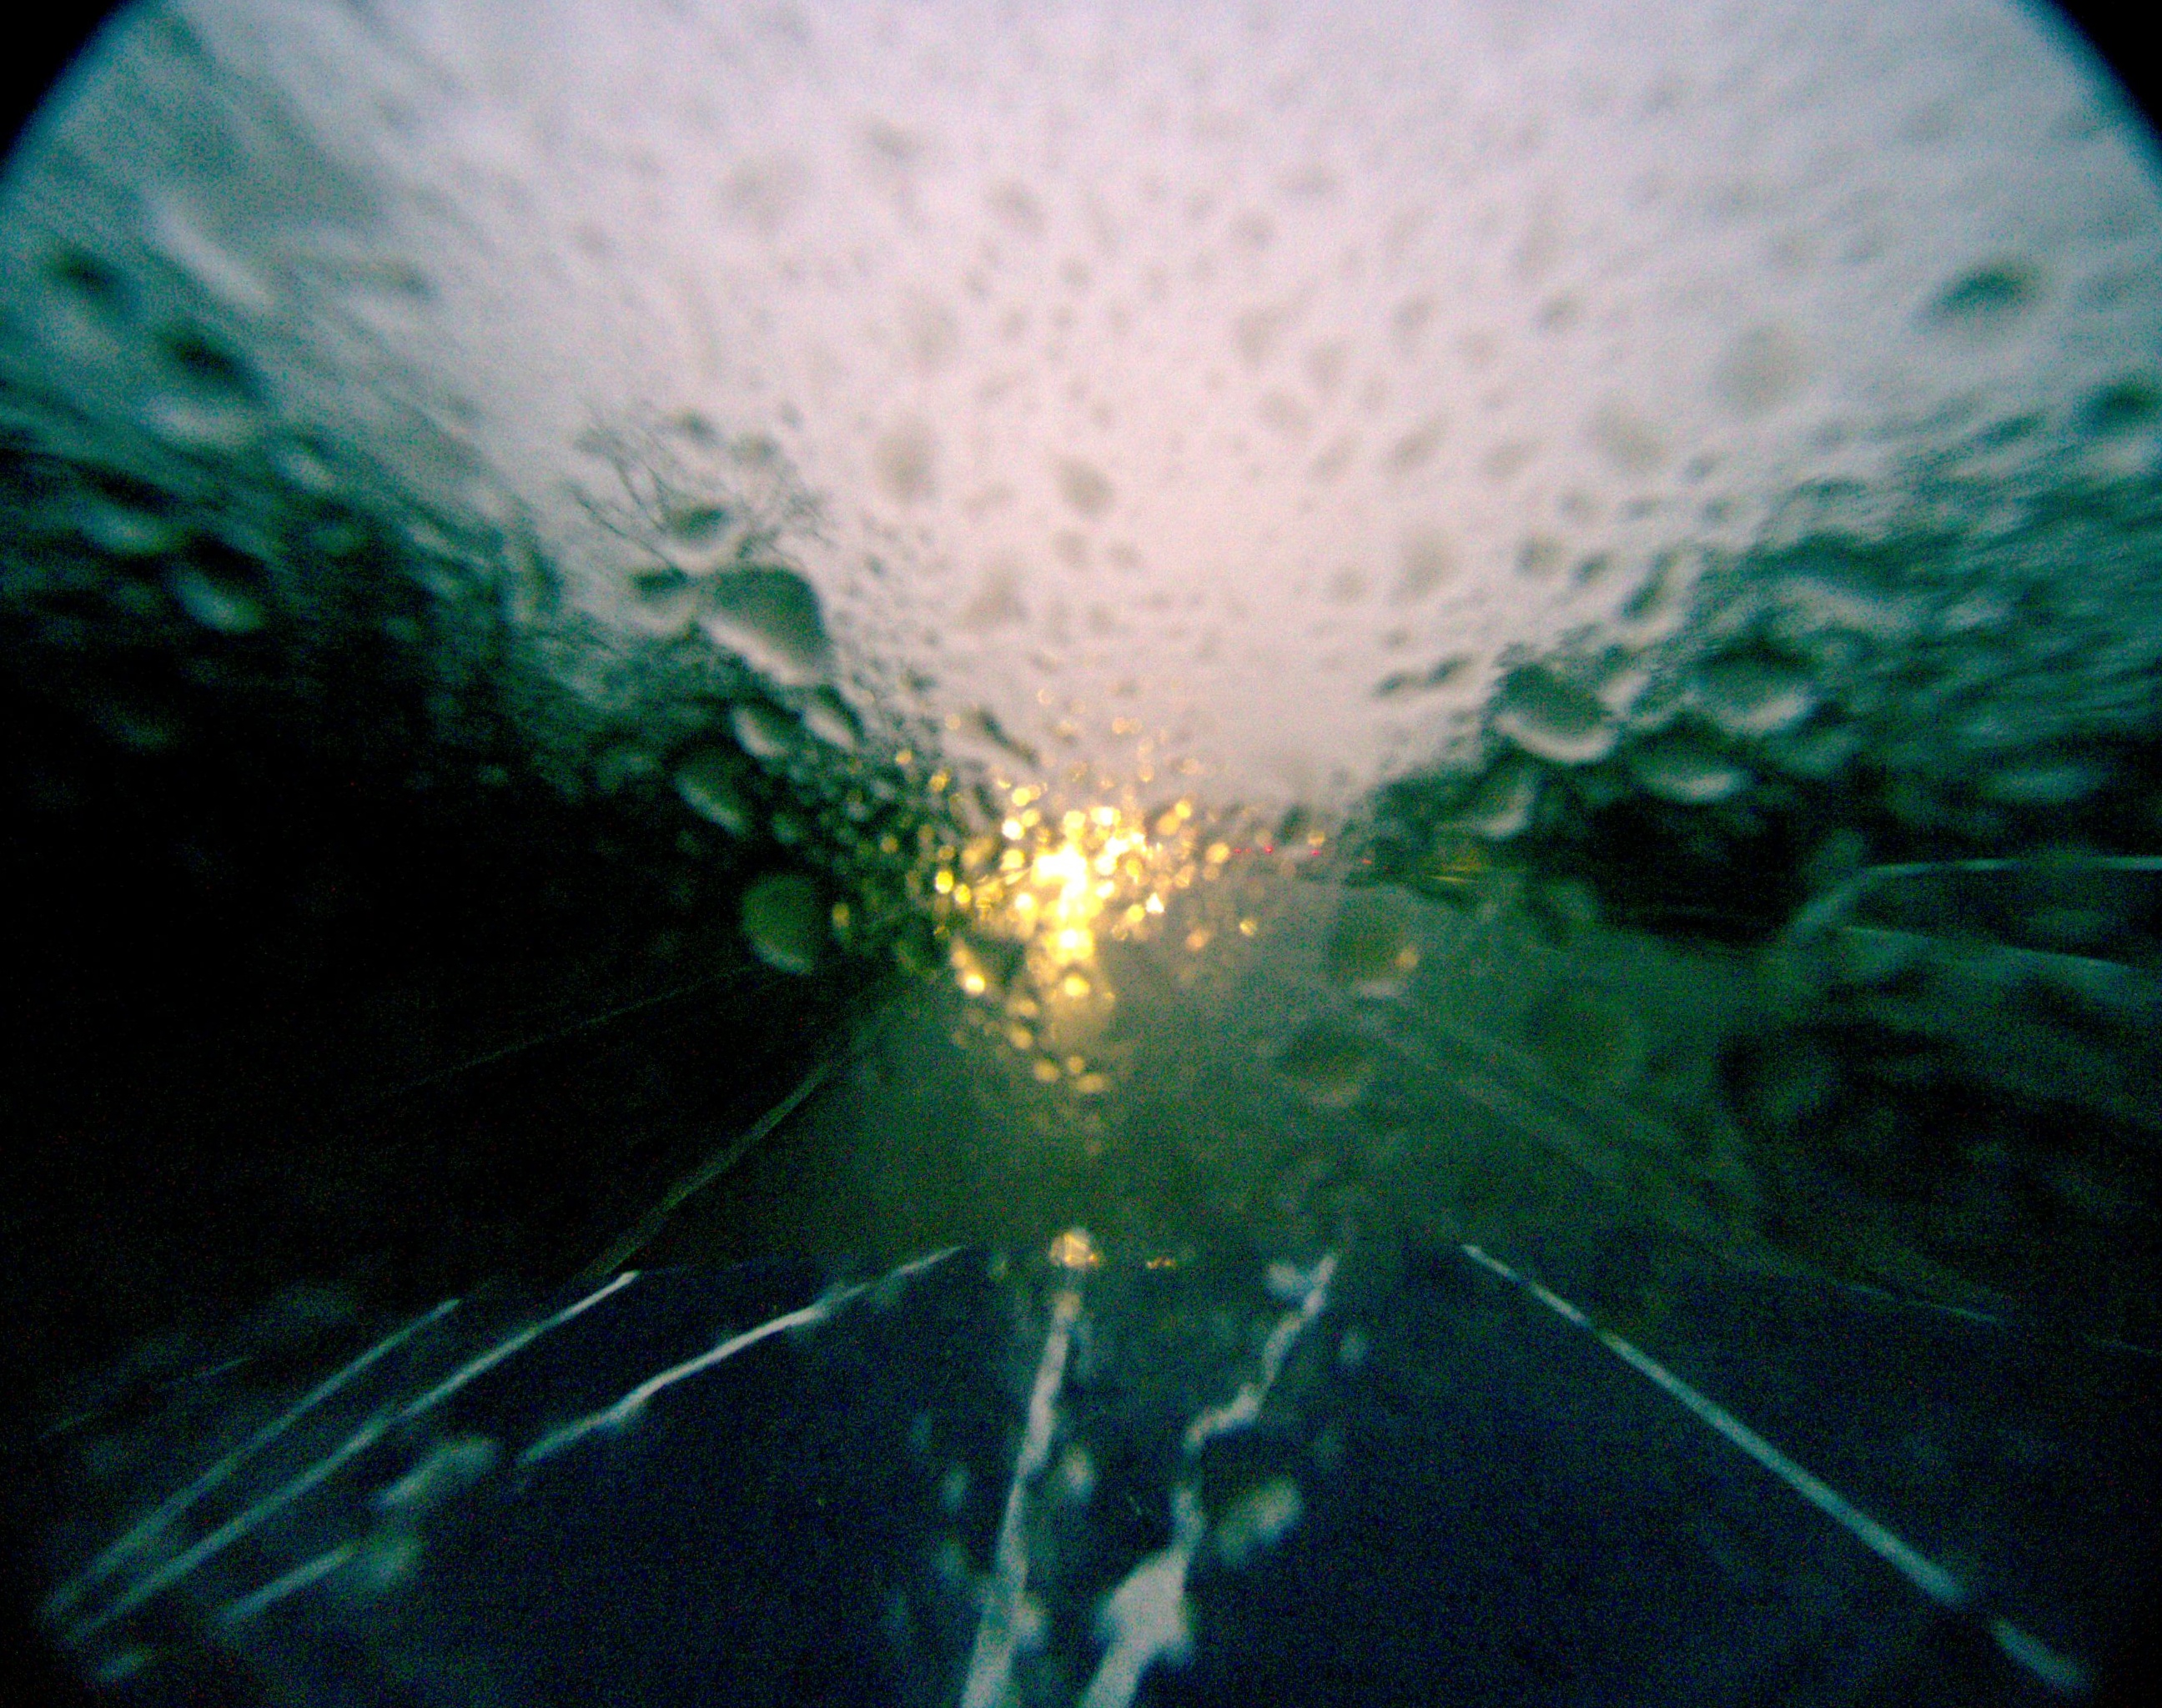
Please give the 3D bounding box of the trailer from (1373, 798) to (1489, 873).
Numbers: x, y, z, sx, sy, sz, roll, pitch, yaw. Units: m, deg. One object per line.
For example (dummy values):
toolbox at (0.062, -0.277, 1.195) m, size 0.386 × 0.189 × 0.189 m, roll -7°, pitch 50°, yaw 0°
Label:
trailer at (25.764, -1.316, 57.068) m, size 3.497 × 4.819 × 13.483 m, roll -2°, pitch 1°, yaw 5°

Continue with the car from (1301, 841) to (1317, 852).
car at (32.583, -1.136, 108.603) m, size 1.461 × 1.556 × 3.651 m, roll -1°, pitch 1°, yaw 5°

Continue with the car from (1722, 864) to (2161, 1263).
car at (5.170, 0.845, 2.672) m, size 1.952 × 1.511 × 4.788 m, roll 0°, pitch 1°, yaw 3°

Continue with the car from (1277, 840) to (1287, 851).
car at (38.621, -1.669, 146.085) m, size 1.915 × 2.002 × 4.004 m, roll -1°, pitch 1°, yaw 14°

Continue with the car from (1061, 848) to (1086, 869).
car at (-0.627, 0.333, 59.281) m, size 1.841 × 1.553 × 3.866 m, roll -2°, pitch 1°, yaw -1°

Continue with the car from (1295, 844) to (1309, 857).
car at (36.429, -0.631, 125.408) m, size 1.997 × 2.002 × 4.003 m, roll -2°, pitch 1°, yaw 13°

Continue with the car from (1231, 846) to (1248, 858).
car at (21.633, -0.355, 103.936) m, size 1.704 × 1.556 × 4.042 m, roll -2°, pitch 1°, yaw 5°

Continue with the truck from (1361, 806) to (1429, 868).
truck at (26.435, -1.418, 64.258) m, size 3.497 × 4.819 × 6.032 m, roll -2°, pitch 1°, yaw 5°
